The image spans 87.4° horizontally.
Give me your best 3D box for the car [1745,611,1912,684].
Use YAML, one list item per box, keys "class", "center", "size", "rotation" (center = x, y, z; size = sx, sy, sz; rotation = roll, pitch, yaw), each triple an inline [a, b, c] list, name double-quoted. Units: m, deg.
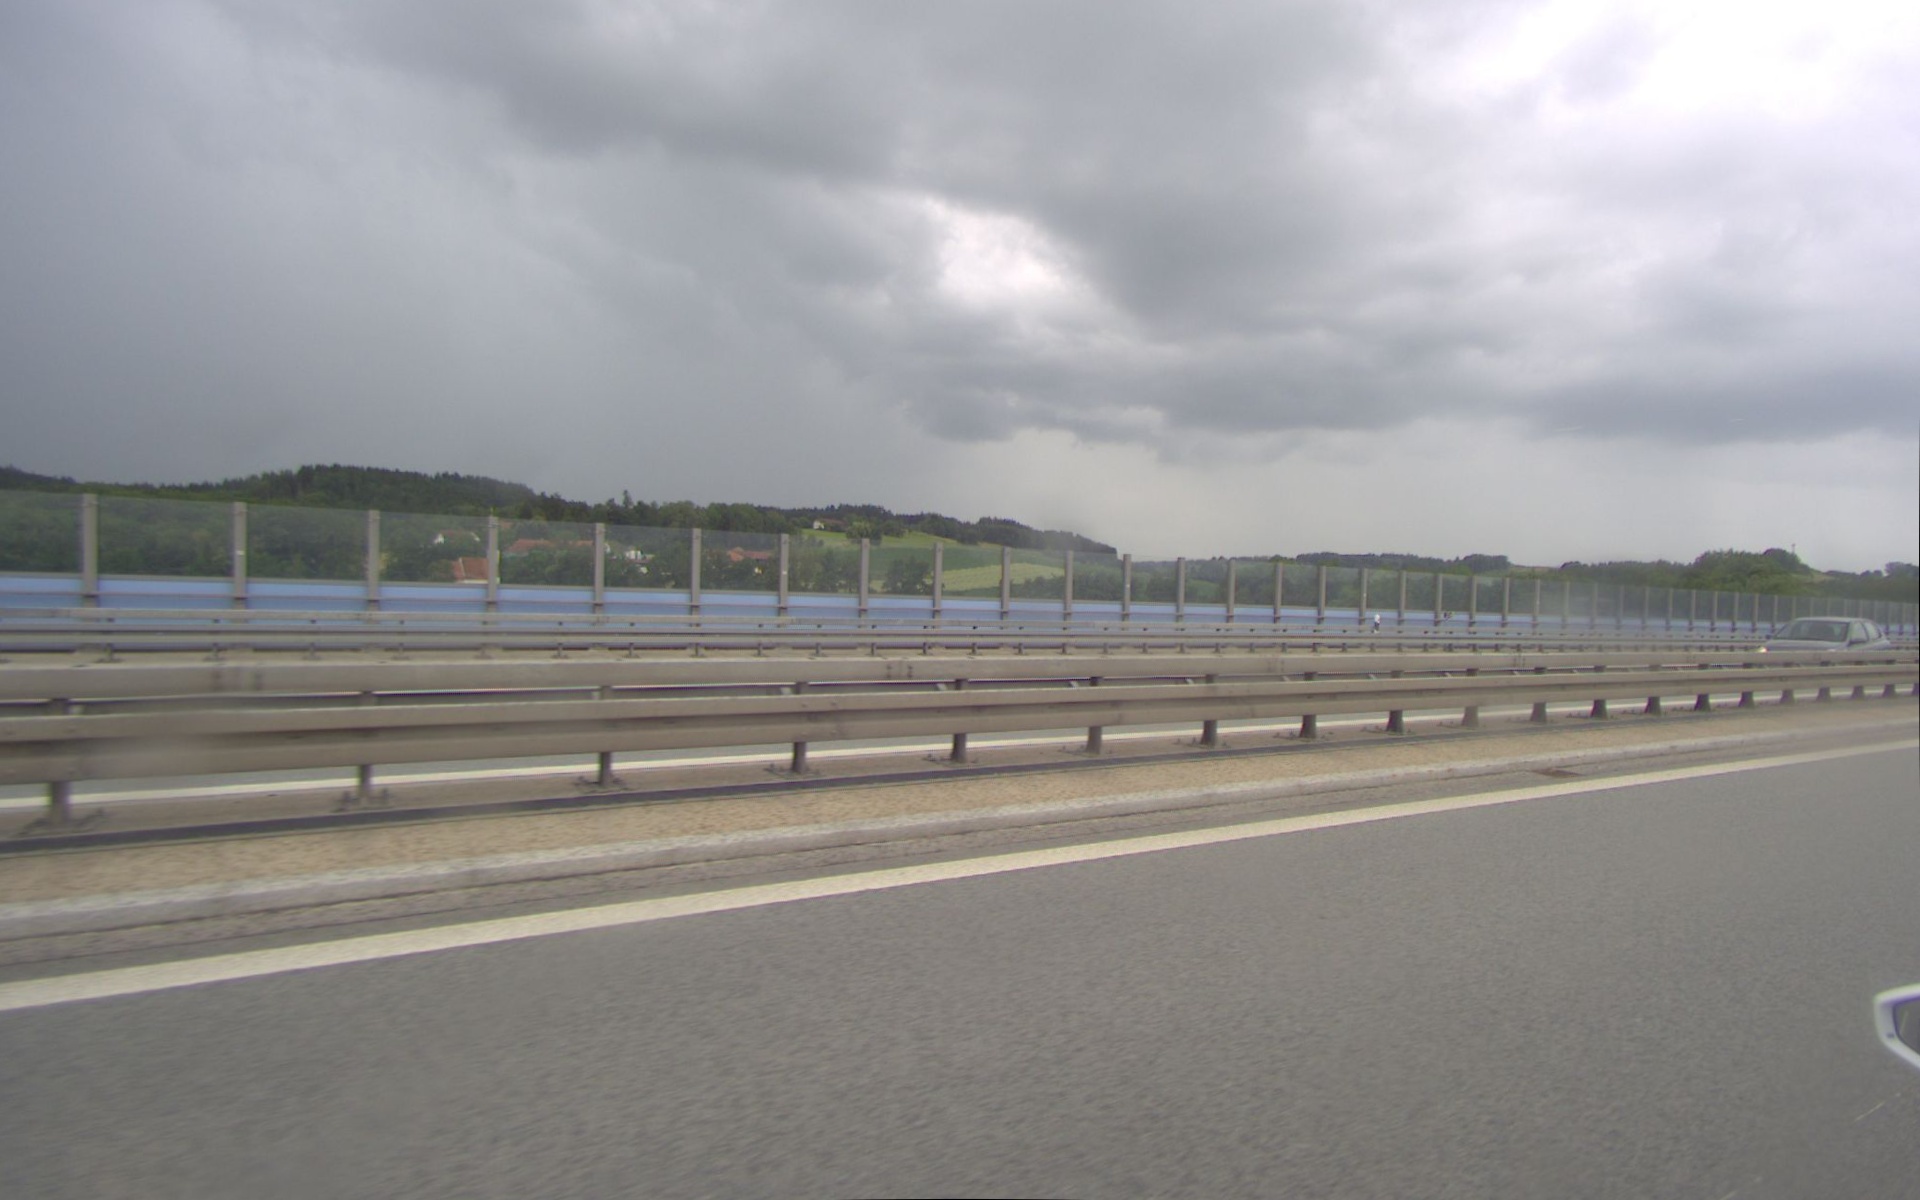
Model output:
- class: "car"
  center: [20.186, 1.072, 23.324]
  size: [3.953, 1.511, 1.746]
  rotation: [2, 0, -30]
